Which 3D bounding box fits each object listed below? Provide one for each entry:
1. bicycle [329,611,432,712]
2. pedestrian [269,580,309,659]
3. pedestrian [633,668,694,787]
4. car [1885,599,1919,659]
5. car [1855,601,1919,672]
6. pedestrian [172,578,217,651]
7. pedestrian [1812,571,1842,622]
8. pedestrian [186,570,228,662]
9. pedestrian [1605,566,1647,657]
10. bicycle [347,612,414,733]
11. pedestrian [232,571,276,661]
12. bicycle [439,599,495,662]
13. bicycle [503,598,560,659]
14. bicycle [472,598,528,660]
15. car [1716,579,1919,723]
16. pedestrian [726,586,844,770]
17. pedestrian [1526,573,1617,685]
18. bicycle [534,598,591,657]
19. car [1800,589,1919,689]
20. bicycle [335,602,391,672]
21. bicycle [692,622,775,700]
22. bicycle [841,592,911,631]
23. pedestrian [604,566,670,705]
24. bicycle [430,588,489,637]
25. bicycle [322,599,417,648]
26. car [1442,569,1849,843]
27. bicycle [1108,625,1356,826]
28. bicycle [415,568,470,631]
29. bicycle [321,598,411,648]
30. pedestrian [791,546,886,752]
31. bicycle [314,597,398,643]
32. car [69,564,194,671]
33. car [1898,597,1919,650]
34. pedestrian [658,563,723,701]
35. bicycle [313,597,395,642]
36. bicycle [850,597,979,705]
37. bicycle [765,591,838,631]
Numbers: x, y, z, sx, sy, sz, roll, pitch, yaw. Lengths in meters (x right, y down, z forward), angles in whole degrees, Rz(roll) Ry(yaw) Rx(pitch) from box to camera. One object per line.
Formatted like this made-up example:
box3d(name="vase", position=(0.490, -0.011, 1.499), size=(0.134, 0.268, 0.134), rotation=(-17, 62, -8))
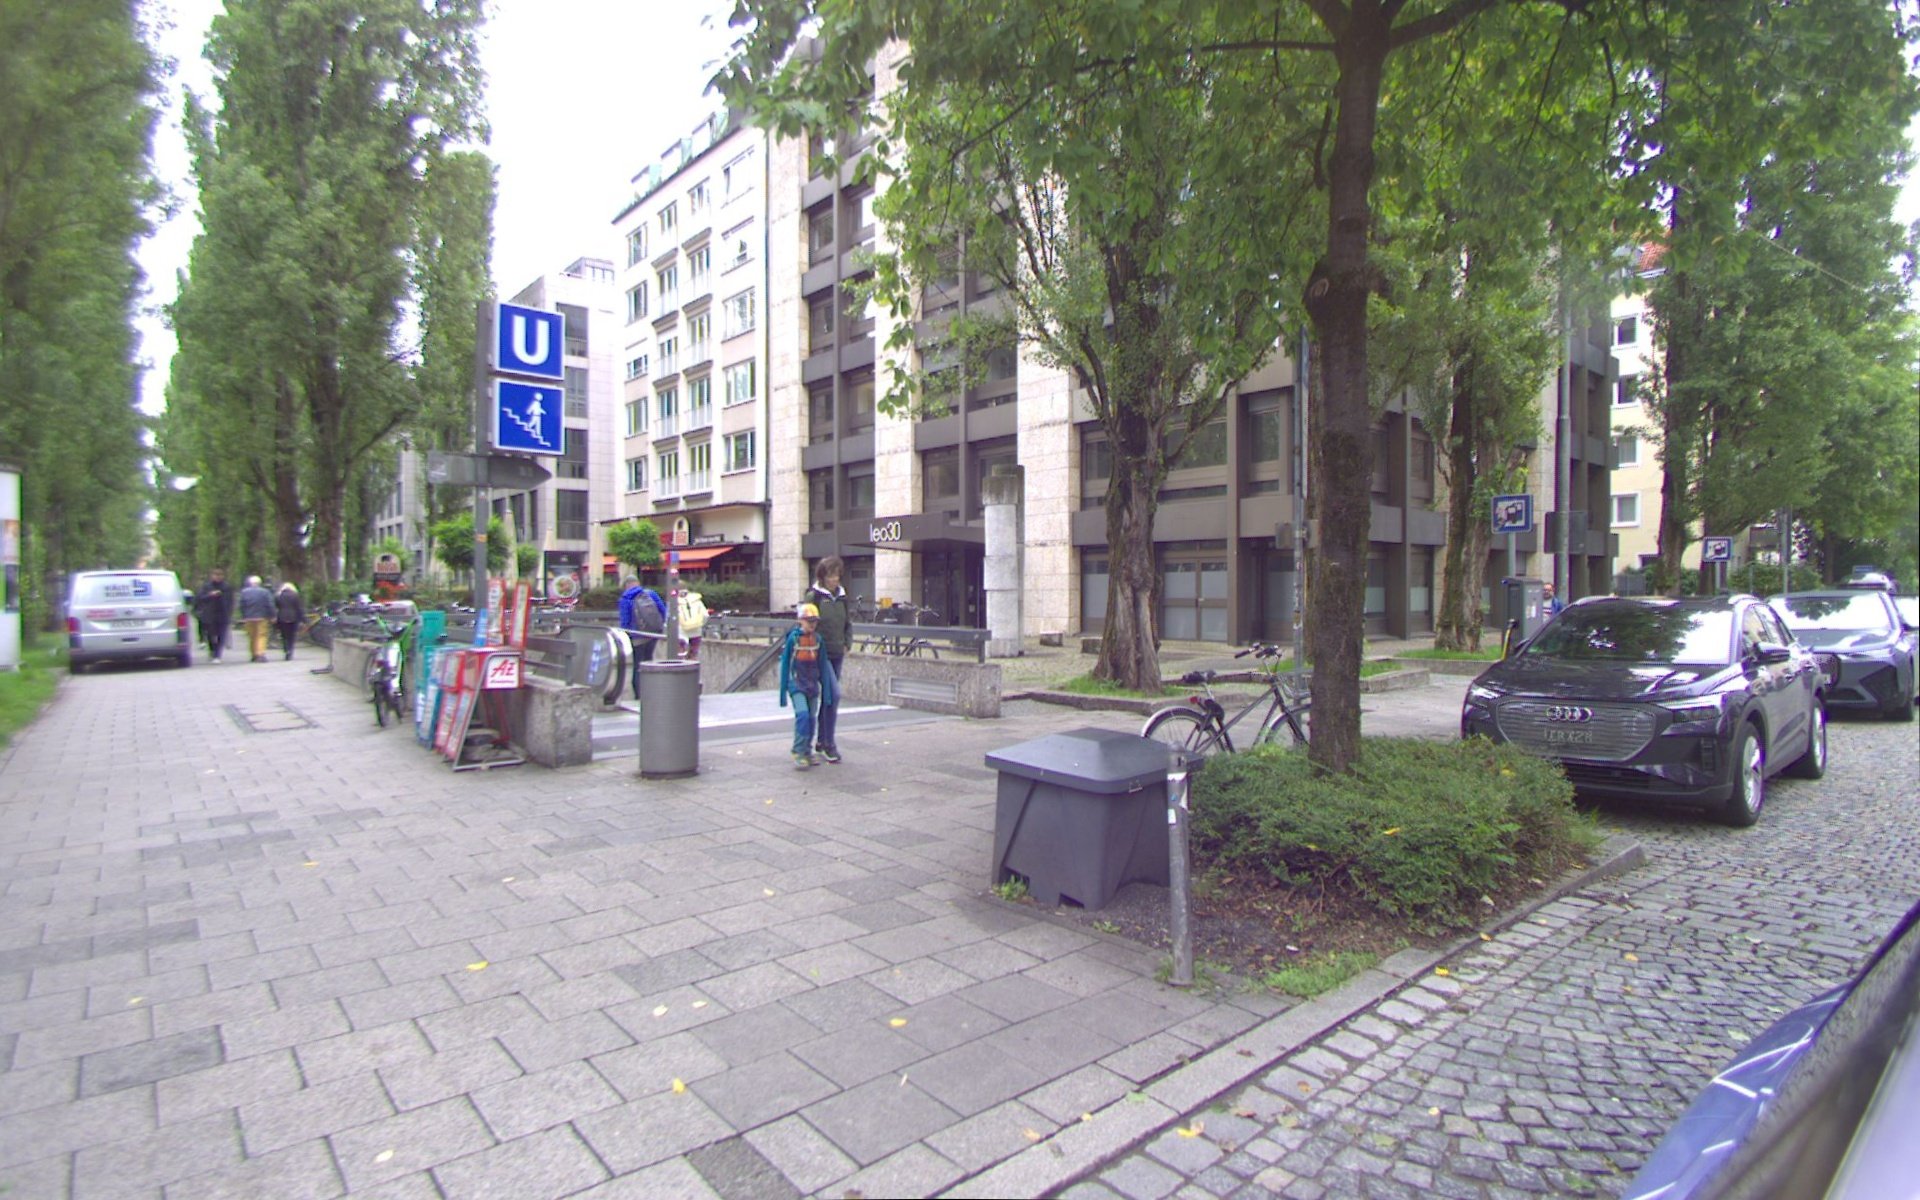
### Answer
box3d(name="bicycle", position=(-7.381, 0.739, 12.850), size=(1.861, 1.174, 0.579), rotation=(0, 0, 42))
box3d(name="pedestrian", position=(-14.297, 0.401, 21.544), size=(0.685, 1.626, 0.833), rotation=(0, 0, -35))
box3d(name="pedestrian", position=(-4.667, 1.976, 15.925), size=(0.700, 1.746, 0.669), rotation=(0, 0, -41))
box3d(name="car", position=(24.518, 0.681, 25.341), size=(3.501, 1.449, 1.602), rotation=(0, -2, -42))
box3d(name="car", position=(21.347, 0.751, 22.406), size=(4.133, 1.408, 1.721), rotation=(-1, -2, -41))
box3d(name="pedestrian", position=(-20.412, 0.378, 27.002), size=(0.902, 1.890, 1.014), rotation=(0, 0, -35))
box3d(name="pedestrian", position=(26.914, -0.125, 31.401), size=(0.697, 1.557, 0.644), rotation=(0, 0, -44))
box3d(name="pedestrian", position=(-15.605, 0.311, 20.975), size=(0.687, 1.864, 0.706), rotation=(0, 0, -37))
box3d(name="pedestrian", position=(12.305, 0.206, 18.692), size=(0.558, 1.649, 0.489), rotation=(0, 0, -38))
box3d(name="bicycle", position=(-6.318, 0.741, 11.085), size=(0.576, 1.174, 1.871), rotation=(0, 0, -28))
box3d(name="pedestrian", position=(-14.714, 0.328, 21.102), size=(0.736, 1.826, 0.843), rotation=(0, 0, -35))
box3d(name="bicycle", position=(-9.692, 0.564, 19.859), size=(0.577, 1.174, 1.867), rotation=(0, 0, -39))
box3d(name="bicycle", position=(-8.752, 0.553, 20.641), size=(0.577, 1.174, 1.867), rotation=(0, 0, -39))
box3d(name="bicycle", position=(-9.215, 0.556, 20.247), size=(0.577, 1.174, 1.867), rotation=(0, 0, -39))
box3d(name="car", position=(12.451, 0.593, 14.294), size=(4.594, 1.722, 2.015), rotation=(-1, 0, -43))
box3d(name="pedestrian", position=(-1.471, 0.608, 8.444), size=(0.801, 1.437, 0.772), rotation=(0, 0, -25))
box3d(name="pedestrian", position=(9.782, 0.444, 16.212), size=(0.893, 1.735, 0.871), rotation=(0, 0, -21))
box3d(name="bicycle", position=(-8.287, 0.549, 21.061), size=(0.577, 1.174, 1.867), rotation=(0, 0, -39))
box3d(name="car", position=(16.590, 0.606, 17.990), size=(4.268, 1.603, 1.996), rotation=(-1, 0, -43))
box3d(name="bicycle", position=(-10.613, 0.619, 17.961), size=(0.577, 1.174, 1.982), rotation=(0, 0, -39))
box3d(name="bicycle", position=(-3.778, 0.980, 16.794), size=(0.577, 1.174, 1.867), rotation=(0, 0, -39))
box3d(name="bicycle", position=(-2.602, 0.345, 31.535), size=(2.207, 1.170, 0.647), rotation=(-1, 0, -41))
box3d(name="pedestrian", position=(-4.165, 0.434, 13.036), size=(0.651, 1.718, 0.807), rotation=(0, 0, -31))
box3d(name="bicycle", position=(-13.252, 0.343, 26.755), size=(1.857, 1.175, 0.580), rotation=(-4, -2, 36))
box3d(name="bicycle", position=(-14.785, 0.574, 25.380), size=(1.995, 1.174, 0.587), rotation=(-1, 0, -39))
box3d(name="car", position=(5.884, 0.652, 8.485), size=(4.130, 1.722, 1.922), rotation=(-1, 0, -43))
box3d(name="bicycle", position=(1.854, 0.772, 6.774), size=(1.840, 1.151, 0.476), rotation=(0, 0, -32))
box3d(name="bicycle", position=(-10.121, -0.016, 19.770), size=(0.577, 1.174, 1.867), rotation=(0, 0, -39))
box3d(name="bicycle", position=(-14.496, 0.538, 24.723), size=(1.835, 1.174, 0.587), rotation=(-1, 0, -39))
box3d(name="pedestrian", position=(-1.077, 0.409, 8.914), size=(0.650, 1.722, 0.692), rotation=(0, 0, -25))
box3d(name="bicycle", position=(-15.941, 0.519, 26.735), size=(1.835, 1.174, 0.587), rotation=(0, 0, -39))
box3d(name="car", position=(-16.870, 0.277, 20.716), size=(1.782, 1.920, 5.198), rotation=(0, 1, -38))
box3d(name="car", position=(28.160, 0.630, 28.654), size=(3.807, 1.405, 1.996), rotation=(-1, -1, -42))
box3d(name="pedestrian", position=(-3.466, 0.388, 12.983), size=(0.598, 1.701, 0.846), rotation=(0, 0, -31))
box3d(name="bicycle", position=(-16.308, 0.514, 27.270), size=(1.835, 1.174, 0.587), rotation=(0, 0, -39))
box3d(name="bicycle", position=(-0.624, 0.612, 13.160), size=(0.709, 1.293, 1.867), rotation=(0, 0, -39))
box3d(name="bicycle", position=(-4.846, 0.329, 31.067), size=(2.207, 1.170, 0.647), rotation=(-1, 0, -41))
